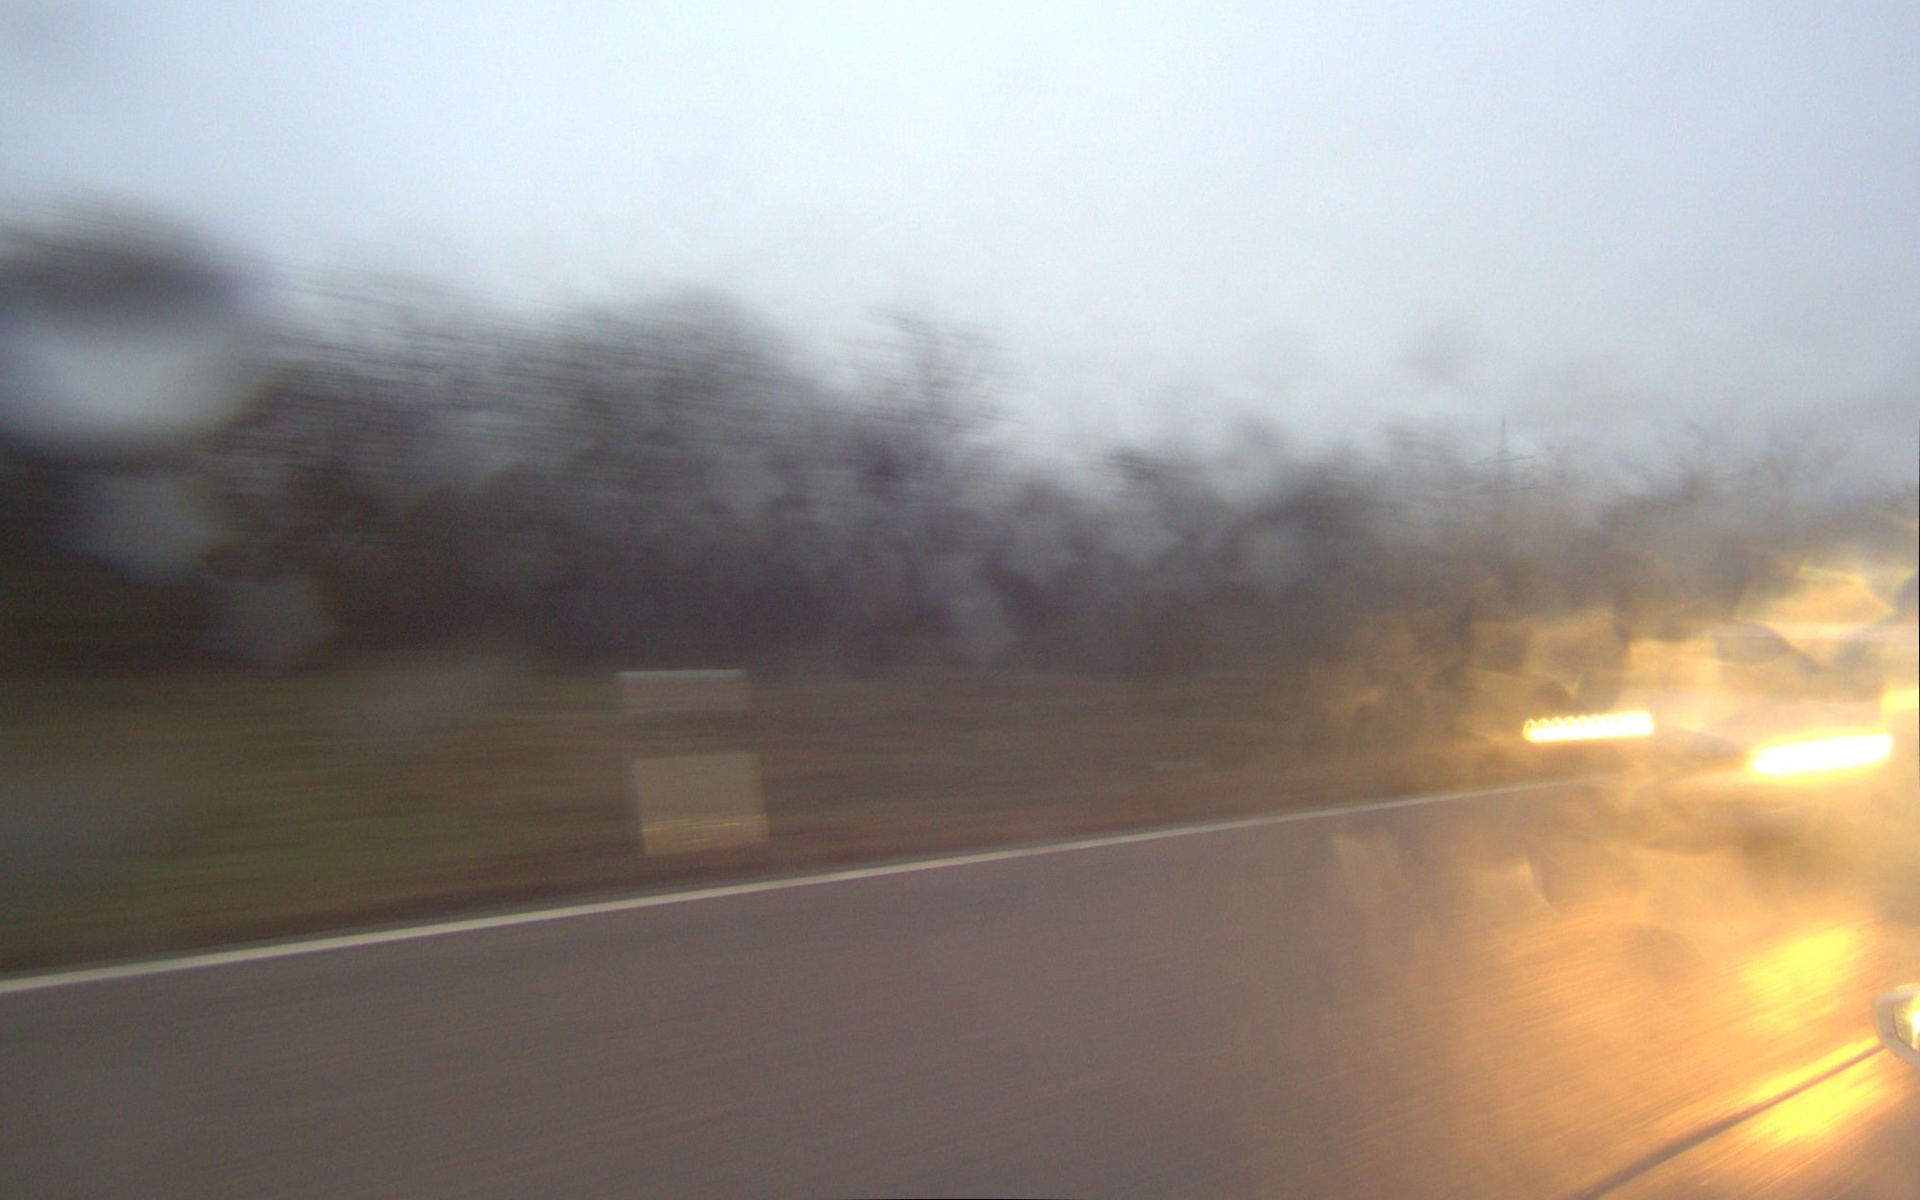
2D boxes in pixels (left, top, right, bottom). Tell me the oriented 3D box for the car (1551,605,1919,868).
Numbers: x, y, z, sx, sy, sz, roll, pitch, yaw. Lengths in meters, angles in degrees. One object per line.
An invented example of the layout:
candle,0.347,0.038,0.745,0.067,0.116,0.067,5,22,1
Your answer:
car,6.576,0.844,7.726,4.049,1.518,1.816,1,0,-32
